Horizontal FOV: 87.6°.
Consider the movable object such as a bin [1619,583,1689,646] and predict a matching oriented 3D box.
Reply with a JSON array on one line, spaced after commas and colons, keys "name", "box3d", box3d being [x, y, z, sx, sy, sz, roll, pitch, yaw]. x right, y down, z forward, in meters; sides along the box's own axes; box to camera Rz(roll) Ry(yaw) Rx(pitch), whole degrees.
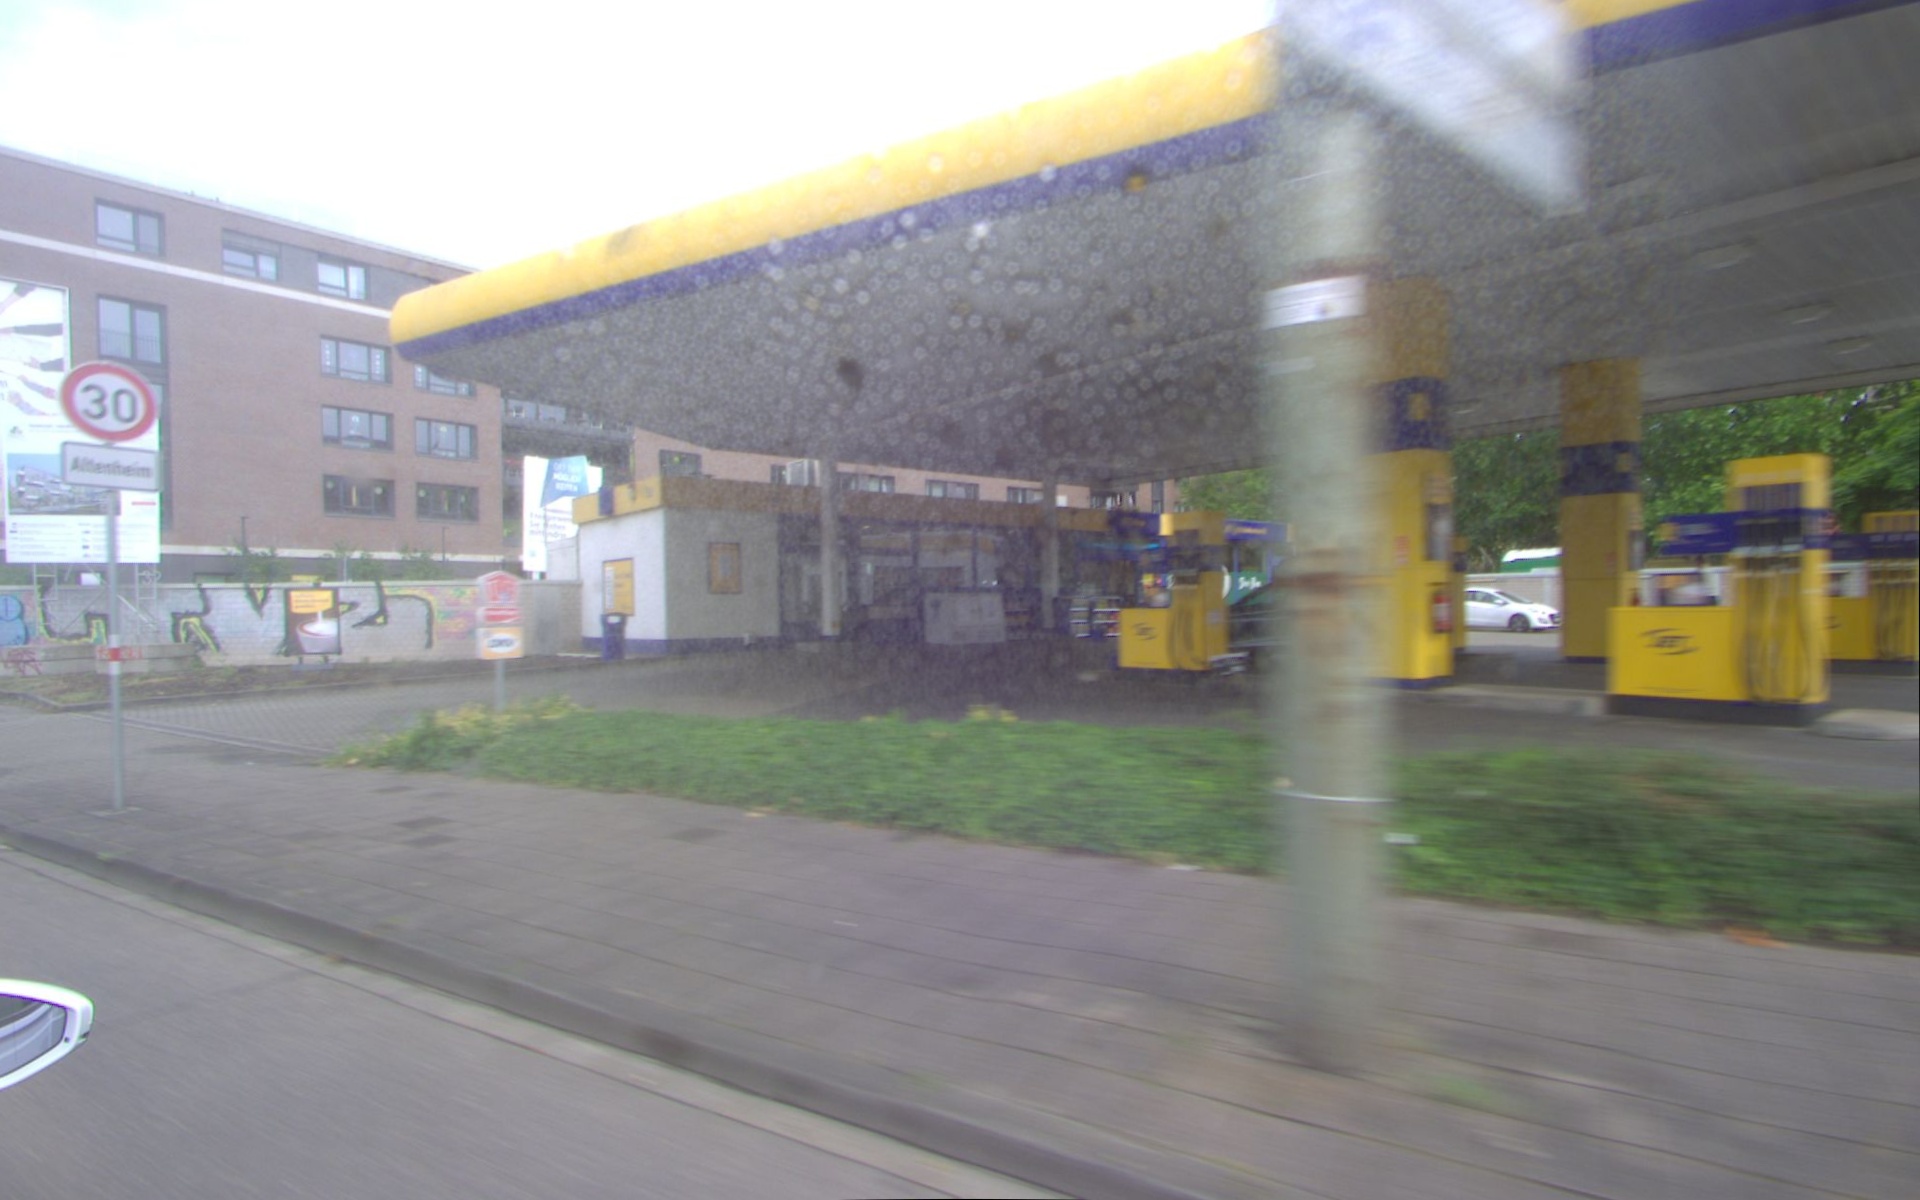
[{"name": "movable object such as a bin", "box3d": [12.476, 0.247, 18.020, 0.593, 1.081, 0.794, 0, 3, -15]}]

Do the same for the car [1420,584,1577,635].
[{"name": "car", "box3d": [18.691, 0.293, 34.909, 1.937, 1.608, 4.388, 0, 1, -39]}]

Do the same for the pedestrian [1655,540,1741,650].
[{"name": "pedestrian", "box3d": [12.702, -0.104, 17.259, 0.593, 1.845, 0.968, 0, 3, -15]}]

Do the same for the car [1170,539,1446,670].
[{"name": "car", "box3d": [5.978, 0.100, 17.581, 1.804, 2.014, 4.217, -2, 0, -41]}]

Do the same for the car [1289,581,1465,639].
[{"name": "car", "box3d": [12.932, 0.249, 31.309, 1.920, 1.617, 4.720, 0, 2, -39]}]

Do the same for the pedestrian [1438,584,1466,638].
[{"name": "pedestrian", "box3d": [14.495, 0.327, 29.488, 0.492, 1.565, 0.547, -1, 2, -35]}]

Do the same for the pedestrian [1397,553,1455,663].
[{"name": "pedestrian", "box3d": [7.914, 0.139, 17.005, 0.699, 1.810, 0.623, 0, 0, -35]}]
